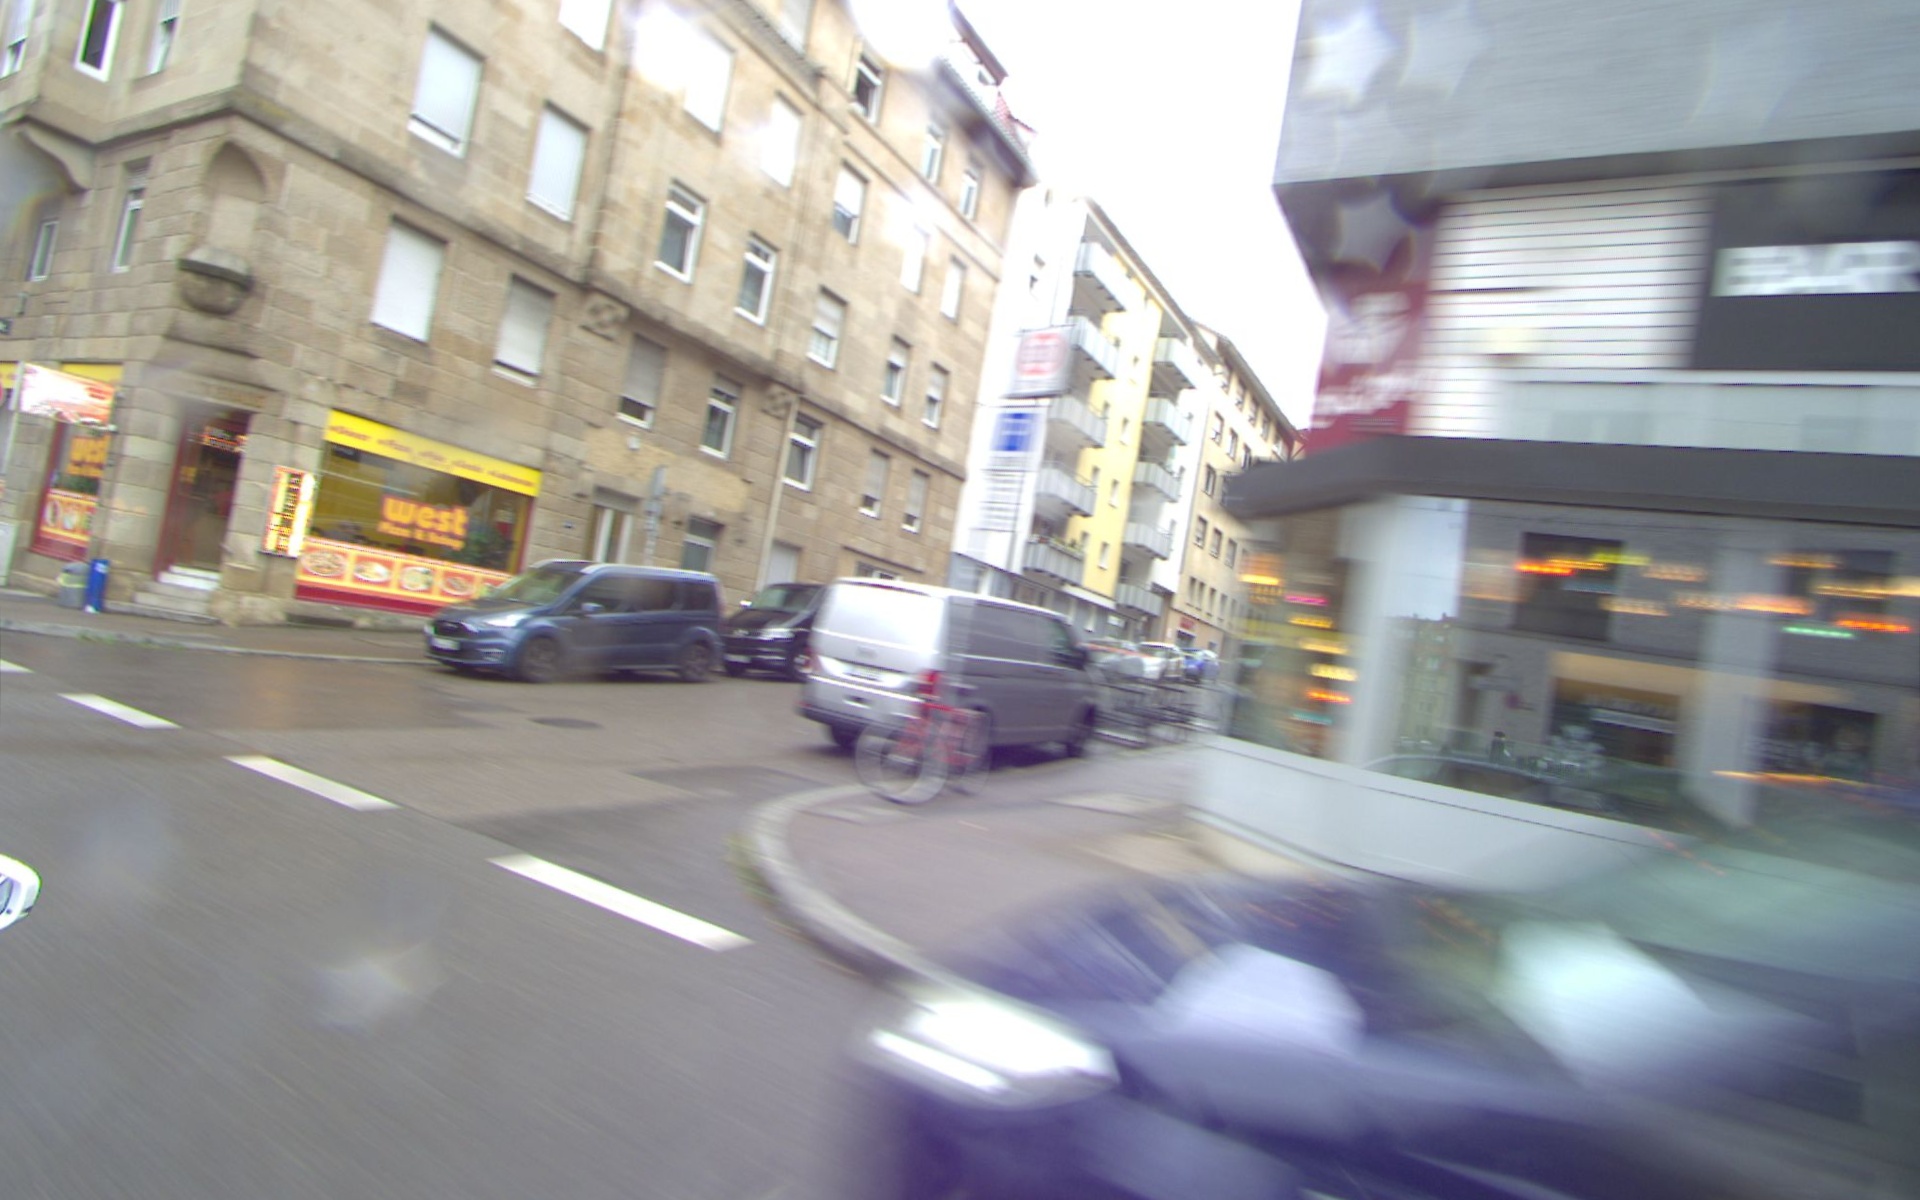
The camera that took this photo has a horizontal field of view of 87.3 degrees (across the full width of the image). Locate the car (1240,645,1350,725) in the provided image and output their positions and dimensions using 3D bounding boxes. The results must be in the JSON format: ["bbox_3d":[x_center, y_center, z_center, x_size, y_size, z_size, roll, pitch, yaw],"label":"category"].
[{"bbox_3d":[9.419,2.396,28.055,1.892,1.759,4.480,8,-1,30],"label":"car"}]

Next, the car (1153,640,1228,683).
[{"bbox_3d":[9.827,2.619,42.603,1.831,1.501,4.180,7,-1,30],"label":"car"}]

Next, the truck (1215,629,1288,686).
[{"bbox_3d":[15.095,3.041,51.822,1.830,2.553,6.710,7,-1,30],"label":"truck"}]

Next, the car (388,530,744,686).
[{"bbox_3d":[-5.799,0.245,15.505,1.966,1.884,4.786,7,-1,30],"label":"car"}]

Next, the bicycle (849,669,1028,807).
[{"bbox_3d":[-0.127,1.163,8.472,0.524,0.983,1.753,7,-3,32],"label":"bicycle"}]

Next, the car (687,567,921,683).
[{"bbox_3d":[-2.968,0.575,20.255,1.967,1.949,4.710,5,-1,31],"label":"car"}]

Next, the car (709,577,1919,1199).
[{"bbox_3d":[1.688,0.988,1.621,3.860,1.500,1.696,7,-1,27],"label":"car"}]

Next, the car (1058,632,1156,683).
[{"bbox_3d":[5.115,2.001,34.585,1.831,1.408,4.180,7,-1,30],"label":"car"}]

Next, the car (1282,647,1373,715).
[{"bbox_3d":[12.171,2.706,33.174,1.892,1.825,4.480,8,-1,30],"label":"car"}]

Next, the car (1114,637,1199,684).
[{"bbox_3d":[7.642,2.372,38.837,1.831,1.501,4.180,7,-1,30],"label":"car"}]
